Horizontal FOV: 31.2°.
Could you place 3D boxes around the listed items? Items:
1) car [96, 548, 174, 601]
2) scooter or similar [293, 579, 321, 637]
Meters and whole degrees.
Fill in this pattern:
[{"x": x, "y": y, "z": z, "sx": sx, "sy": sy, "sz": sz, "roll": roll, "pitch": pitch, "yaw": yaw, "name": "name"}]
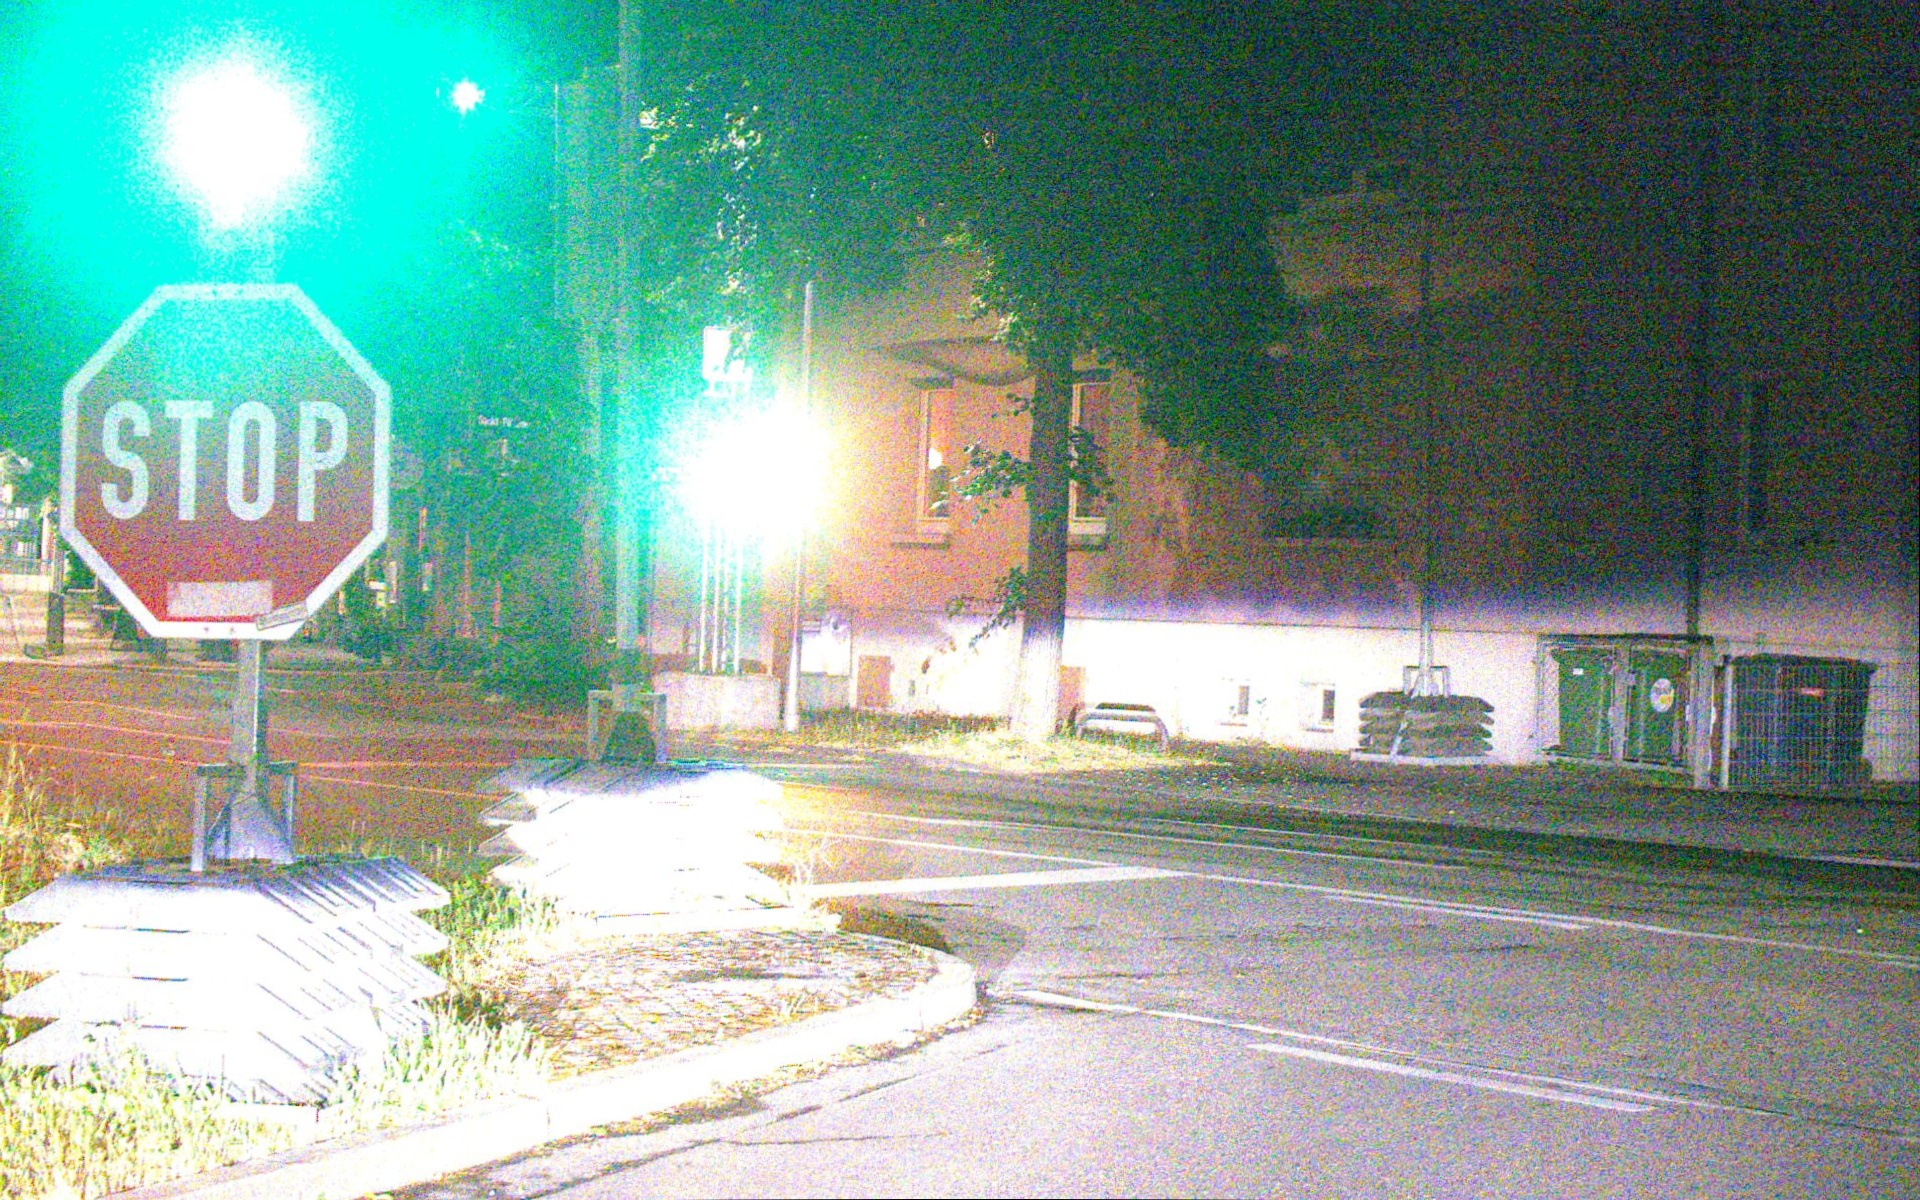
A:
[{"x": -25.037, "y": -0.774, "z": 104.277, "sx": 1.733, "sy": 1.455, "sz": 4.729, "roll": 3, "pitch": 0, "yaw": -20, "name": "car"}, {"x": -13.052, "y": 0.147, "z": 68.727, "sx": 0.421, "sy": 1.126, "sz": 1.494, "roll": 2, "pitch": 0, "yaw": -8, "name": "scooter or similar"}]
